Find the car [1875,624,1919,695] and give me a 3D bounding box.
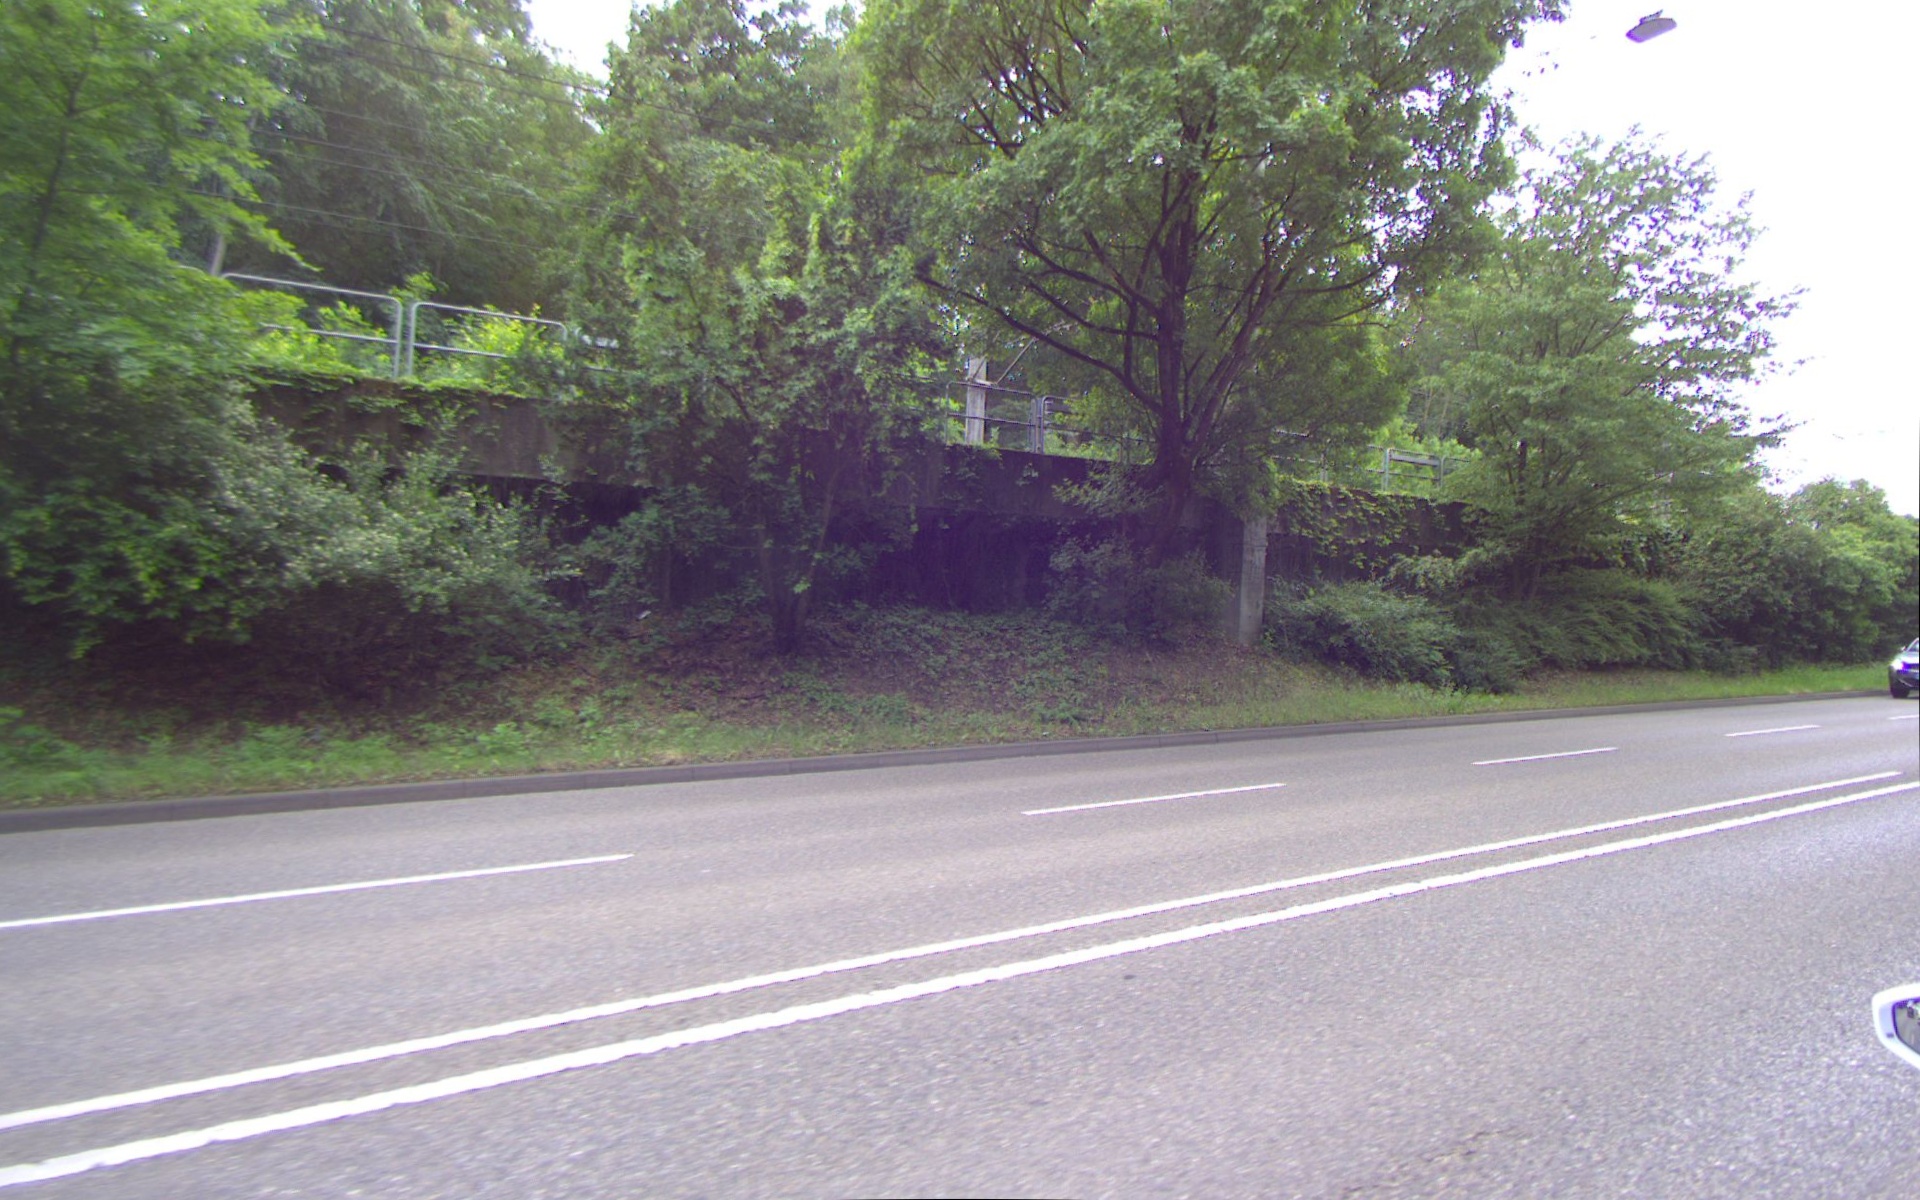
[{"bbox_3d":[23.926,1.413,24.078,4.140,1.633,1.783,1,-3,-30],"label":"car"}]
